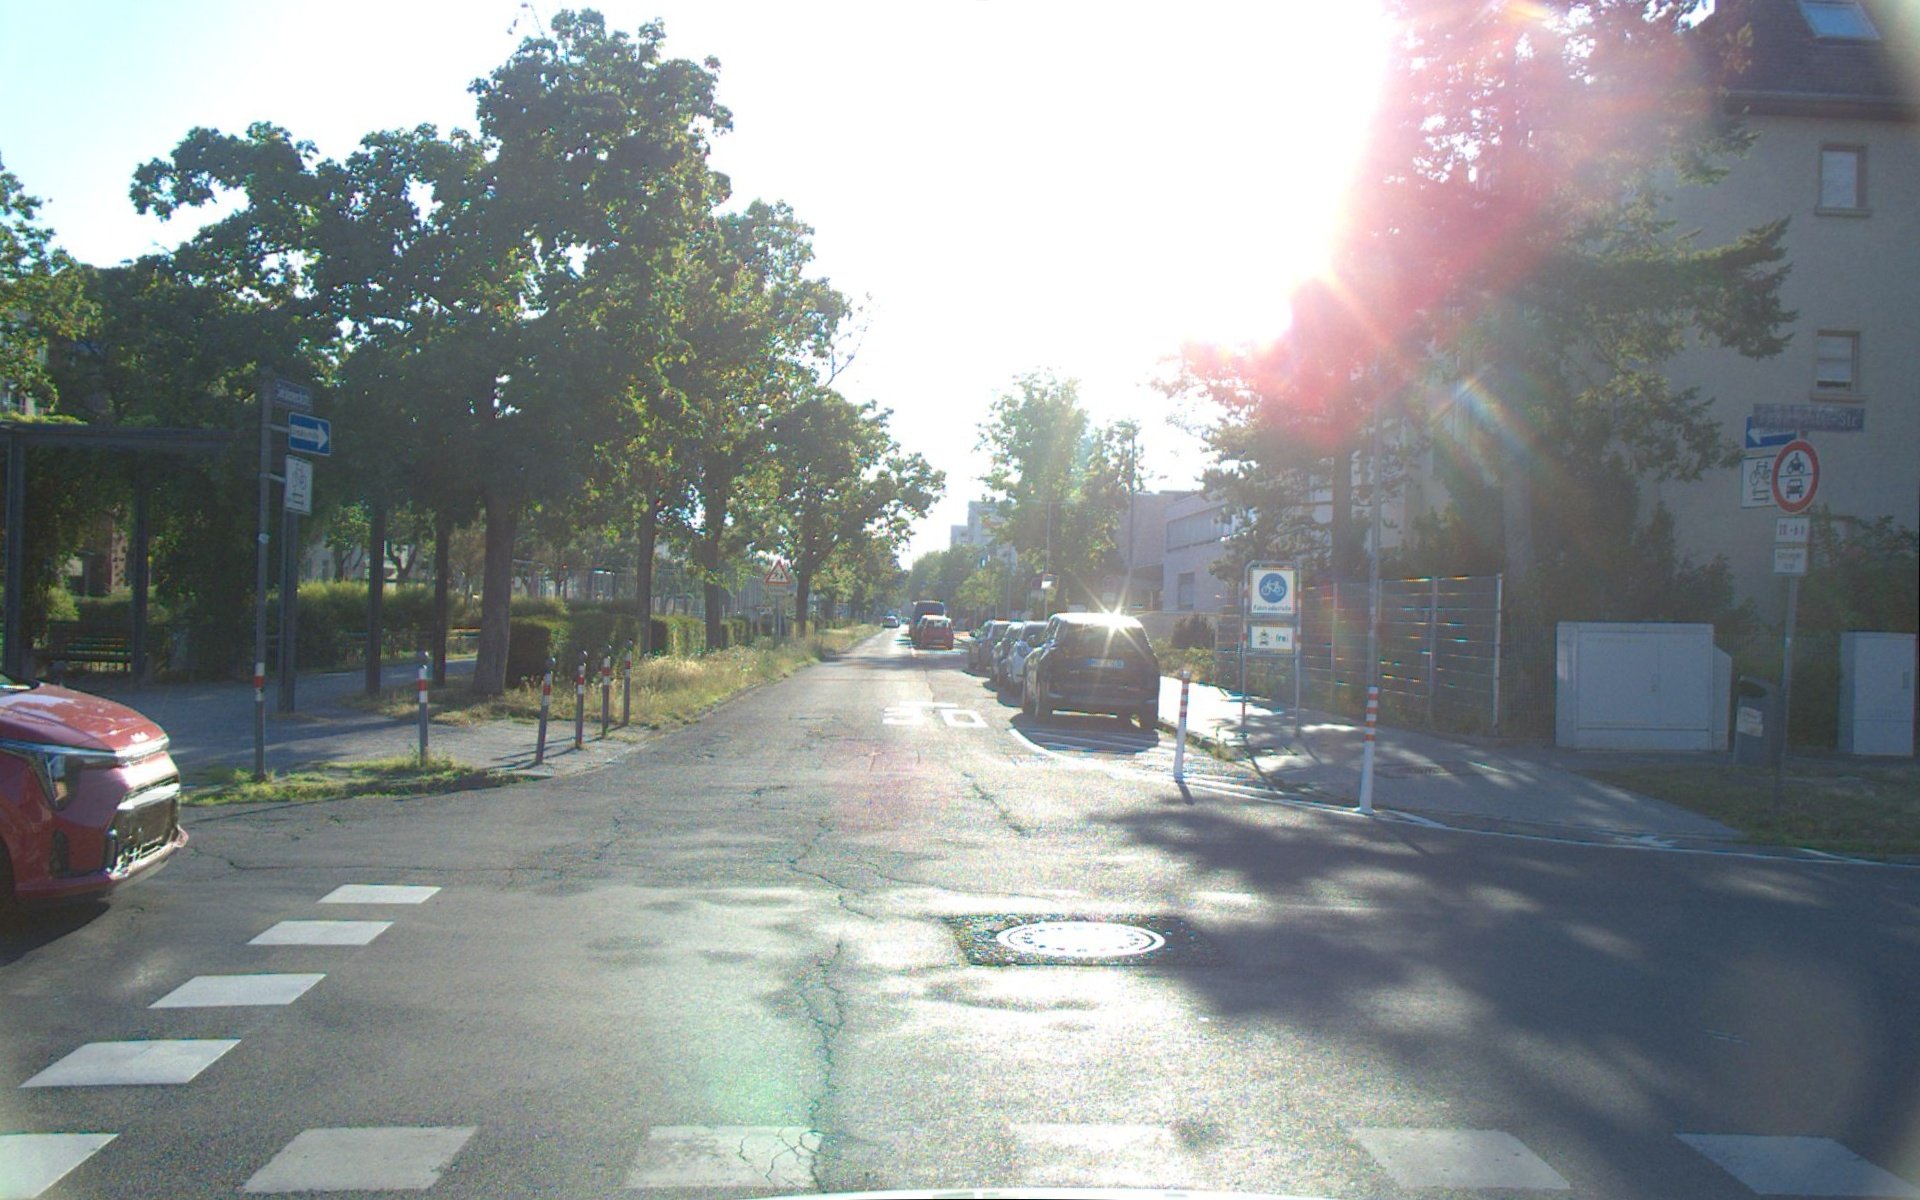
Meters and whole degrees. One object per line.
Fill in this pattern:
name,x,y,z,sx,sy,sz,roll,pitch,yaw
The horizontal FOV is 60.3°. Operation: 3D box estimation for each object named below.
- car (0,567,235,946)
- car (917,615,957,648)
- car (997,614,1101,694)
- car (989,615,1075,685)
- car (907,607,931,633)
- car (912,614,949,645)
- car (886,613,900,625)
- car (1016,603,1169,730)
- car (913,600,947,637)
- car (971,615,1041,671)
car,-5.486,0.639,7.452,3.690,1.553,1.767,0,-1,-8
car,-1.180,1.574,83.113,1.722,1.545,3.756,1,-1,-5
car,1.790,1.075,34.239,1.730,1.553,3.770,0,-1,-3
car,1.662,1.145,39.216,1.695,1.545,3.758,1,-1,-2
car,-3.512,1.678,139.988,1.953,2.161,3.998,1,-1,-2
car,-1.594,1.559,87.748,1.696,1.545,3.756,1,-1,-5
car,-9.338,2.636,230.419,1.828,1.646,3.997,1,-1,-3
car,1.950,0.966,25.460,1.781,1.670,4.214,4,-1,-2
car,-1.844,1.139,100.795,1.953,2.161,3.998,1,-1,-2
car,1.305,1.233,48.457,1.730,1.553,3.770,0,-1,-3
